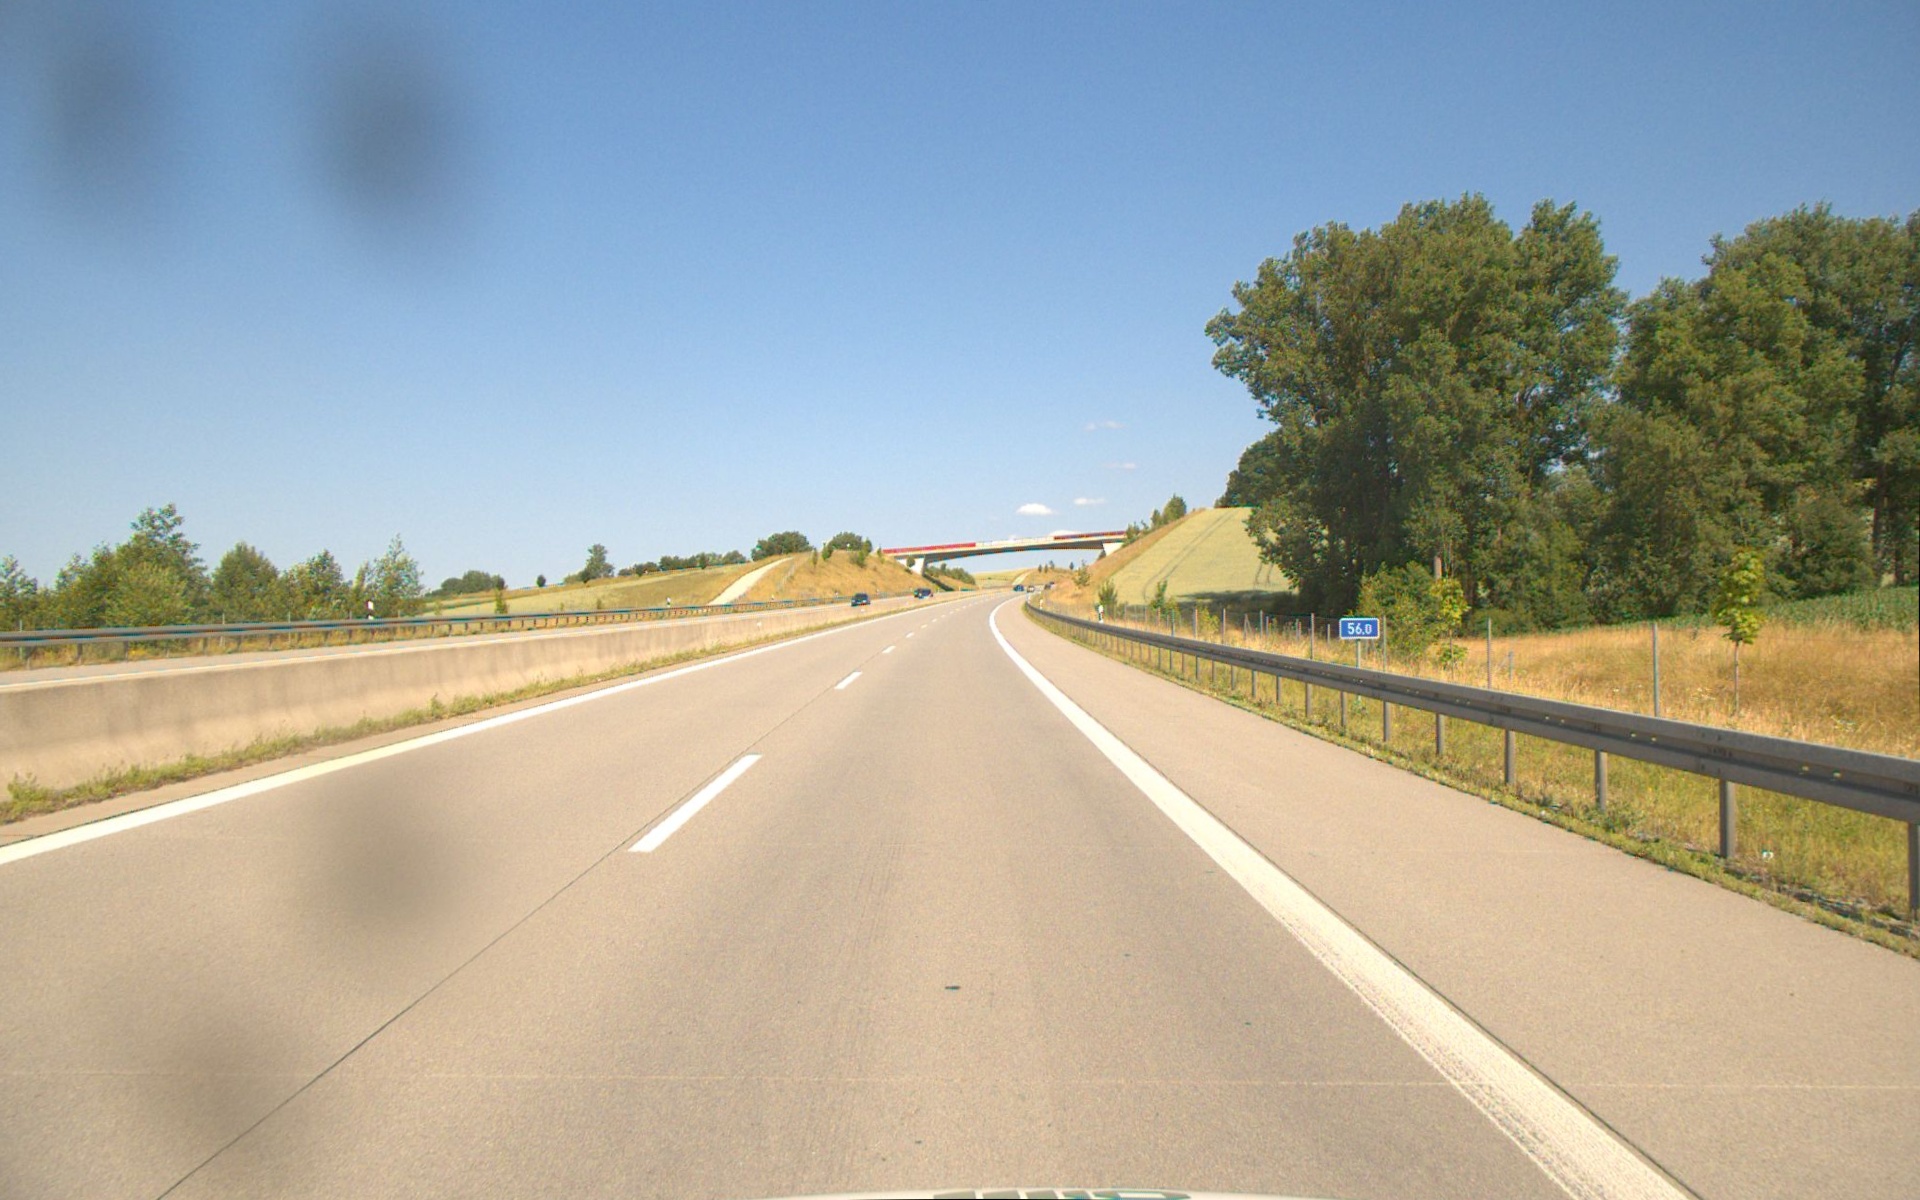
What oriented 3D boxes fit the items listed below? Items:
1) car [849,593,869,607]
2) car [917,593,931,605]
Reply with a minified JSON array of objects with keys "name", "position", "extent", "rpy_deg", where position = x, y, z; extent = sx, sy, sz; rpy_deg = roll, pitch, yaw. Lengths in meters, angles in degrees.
[{"name":"car","position":[-10.946,0.004,179.779],"extent":[1.775,1.482,4.512],"rpy_deg":[1,0,1]},{"name":"car","position":[-5.293,-0.161,241.699],"extent":[1.775,1.643,4.678],"rpy_deg":[1,0,2]}]
